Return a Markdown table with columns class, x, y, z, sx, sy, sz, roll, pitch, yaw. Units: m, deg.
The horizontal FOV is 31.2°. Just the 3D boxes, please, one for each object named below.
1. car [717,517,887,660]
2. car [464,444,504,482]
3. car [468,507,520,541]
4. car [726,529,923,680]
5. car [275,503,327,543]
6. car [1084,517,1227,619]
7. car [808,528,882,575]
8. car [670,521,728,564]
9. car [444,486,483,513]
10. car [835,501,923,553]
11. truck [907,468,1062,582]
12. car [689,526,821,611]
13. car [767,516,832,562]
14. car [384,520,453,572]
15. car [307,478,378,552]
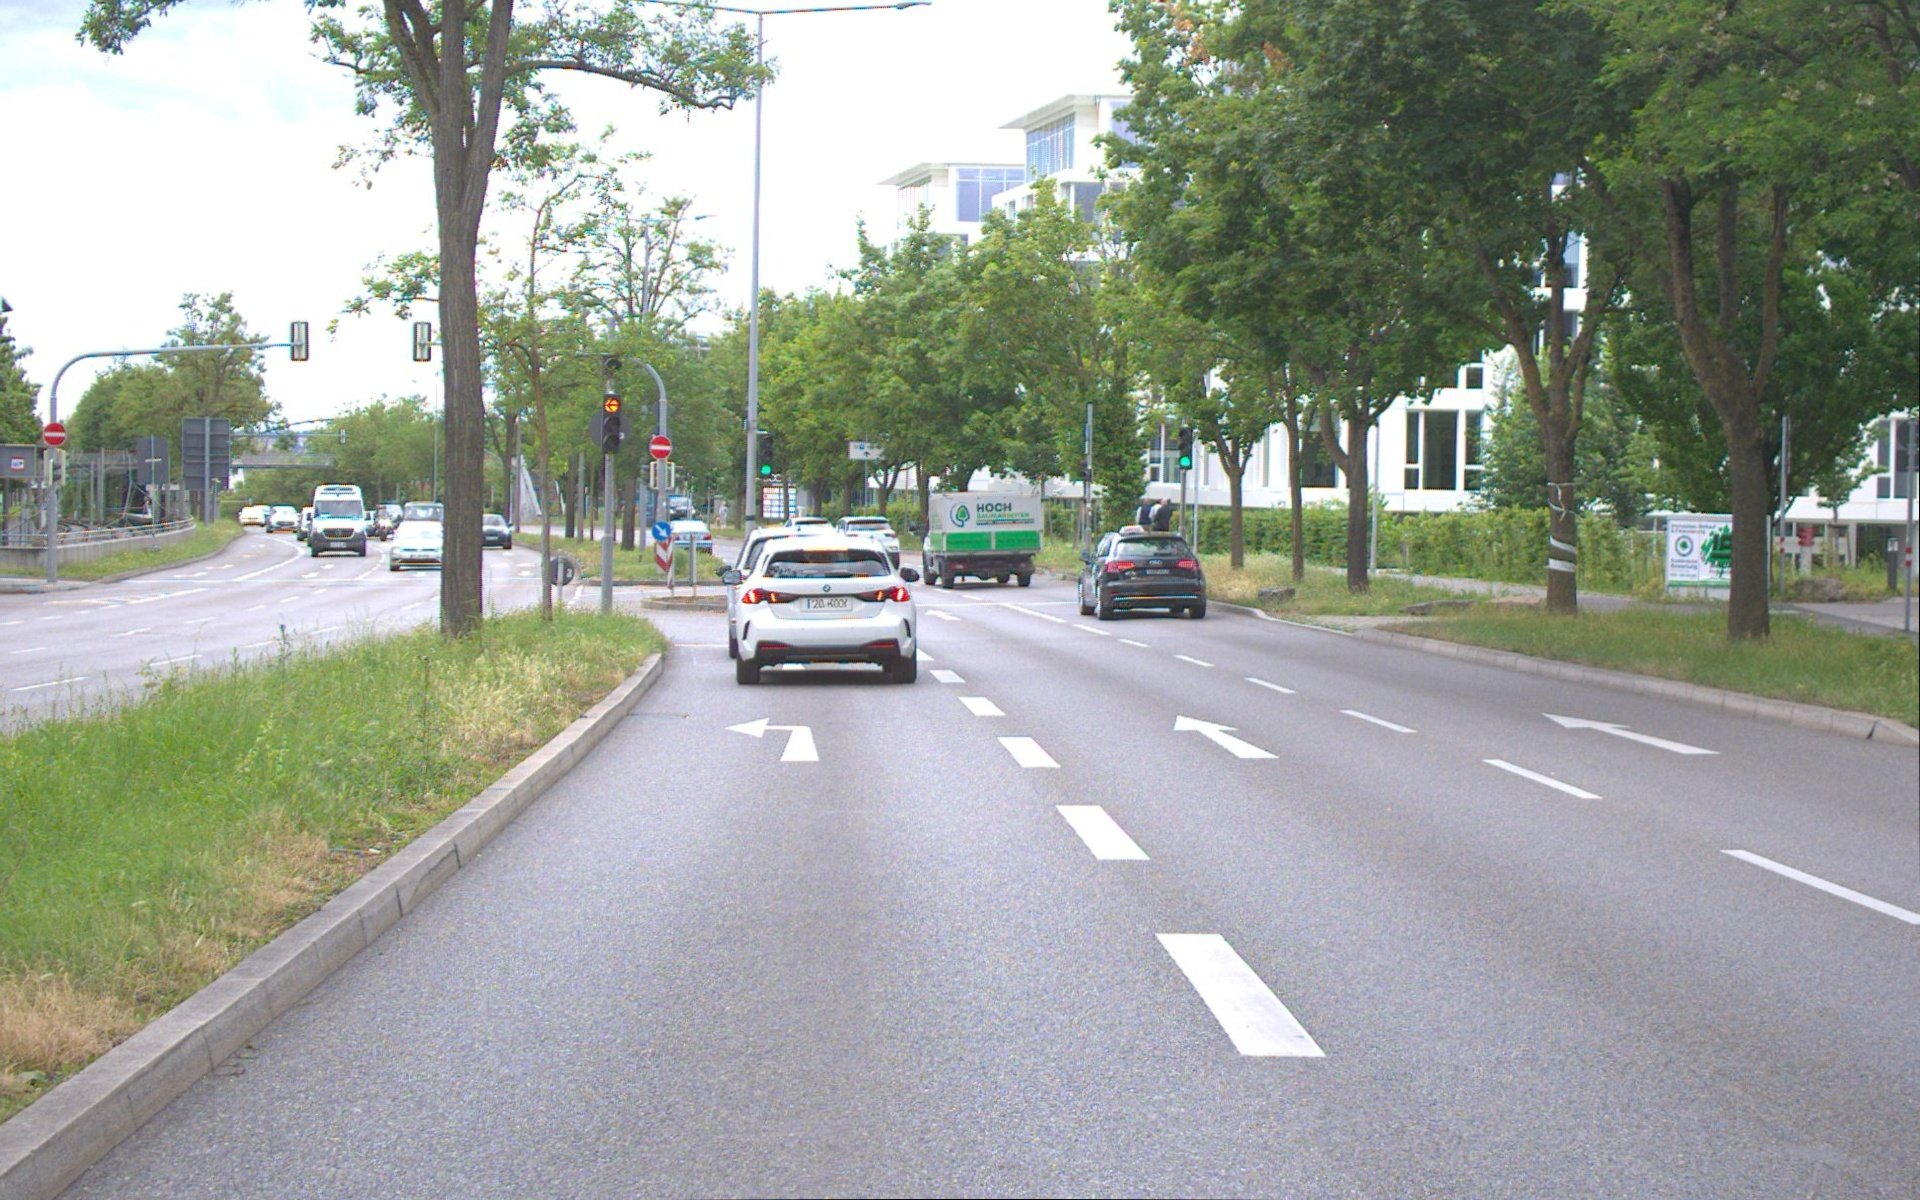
| class | x | y | z | sx | sy | sz | roll | pitch | yaw |
| --- | --- | --- | --- | --- | --- | --- | --- | --- | --- |
| car | -1.931 | -0.164 | 42.604 | 1.993 | 1.666 | 4.000 | 1 | 1 | -2 |
| car | -27.618 | -7.937 | 199.517 | 1.993 | 2.004 | 4.325 | 2 | 1 | -5 |
| car | -19.173 | -3.114 | 141.553 | 1.753 | 1.366 | 3.780 | 0 | 1 | -3 |
| car | -1.337 | 0.017 | 35.325 | 1.863 | 1.444 | 4.000 | 1 | 1 | 0 |
| car | -32.068 | -3.762 | 167.401 | 1.993 | 1.846 | 4.325 | 2 | 1 | -5 |
| car | 3.177 | -0.553 | 56.650 | 1.993 | 1.590 | 4.001 | 1 | 1 | -2 |
| car | -3.814 | -1.601 | 113.411 | 1.993 | 1.503 | 4.001 | 0 | 1 | -8 |
| car | -9.370 | -2.066 | 123.049 | 1.993 | 1.485 | 4.001 | 1 | 1 | -5 |
| car | -31.414 | -6.378 | 217.702 | 1.993 | 1.612 | 4.001 | 2 | 1 | -3 |
| car | -2.400 | -2.144 | 100.711 | 1.993 | 1.503 | 4.001 | 0 | 1 | -10 |
| truck | 0.500 | -1.712 | 79.734 | 2.859 | 2.511 | 6.289 | 1 | 1 | -6 |
| car | -3.766 | -0.589 | 63.818 | 1.994 | 1.503 | 4.000 | 1 | 1 | 3 |
| car | -5.461 | -2.071 | 116.423 | 1.993 | 1.485 | 4.001 | 1 | 1 | -5 |
| car | -16.173 | -1.625 | 102.819 | 1.753 | 1.439 | 4.135 | 2 | 1 | -5 |
| car | -22.807 | -3.145 | 127.137 | 1.993 | 2.625 | 5.876 | 2 | 1 | -5 |
